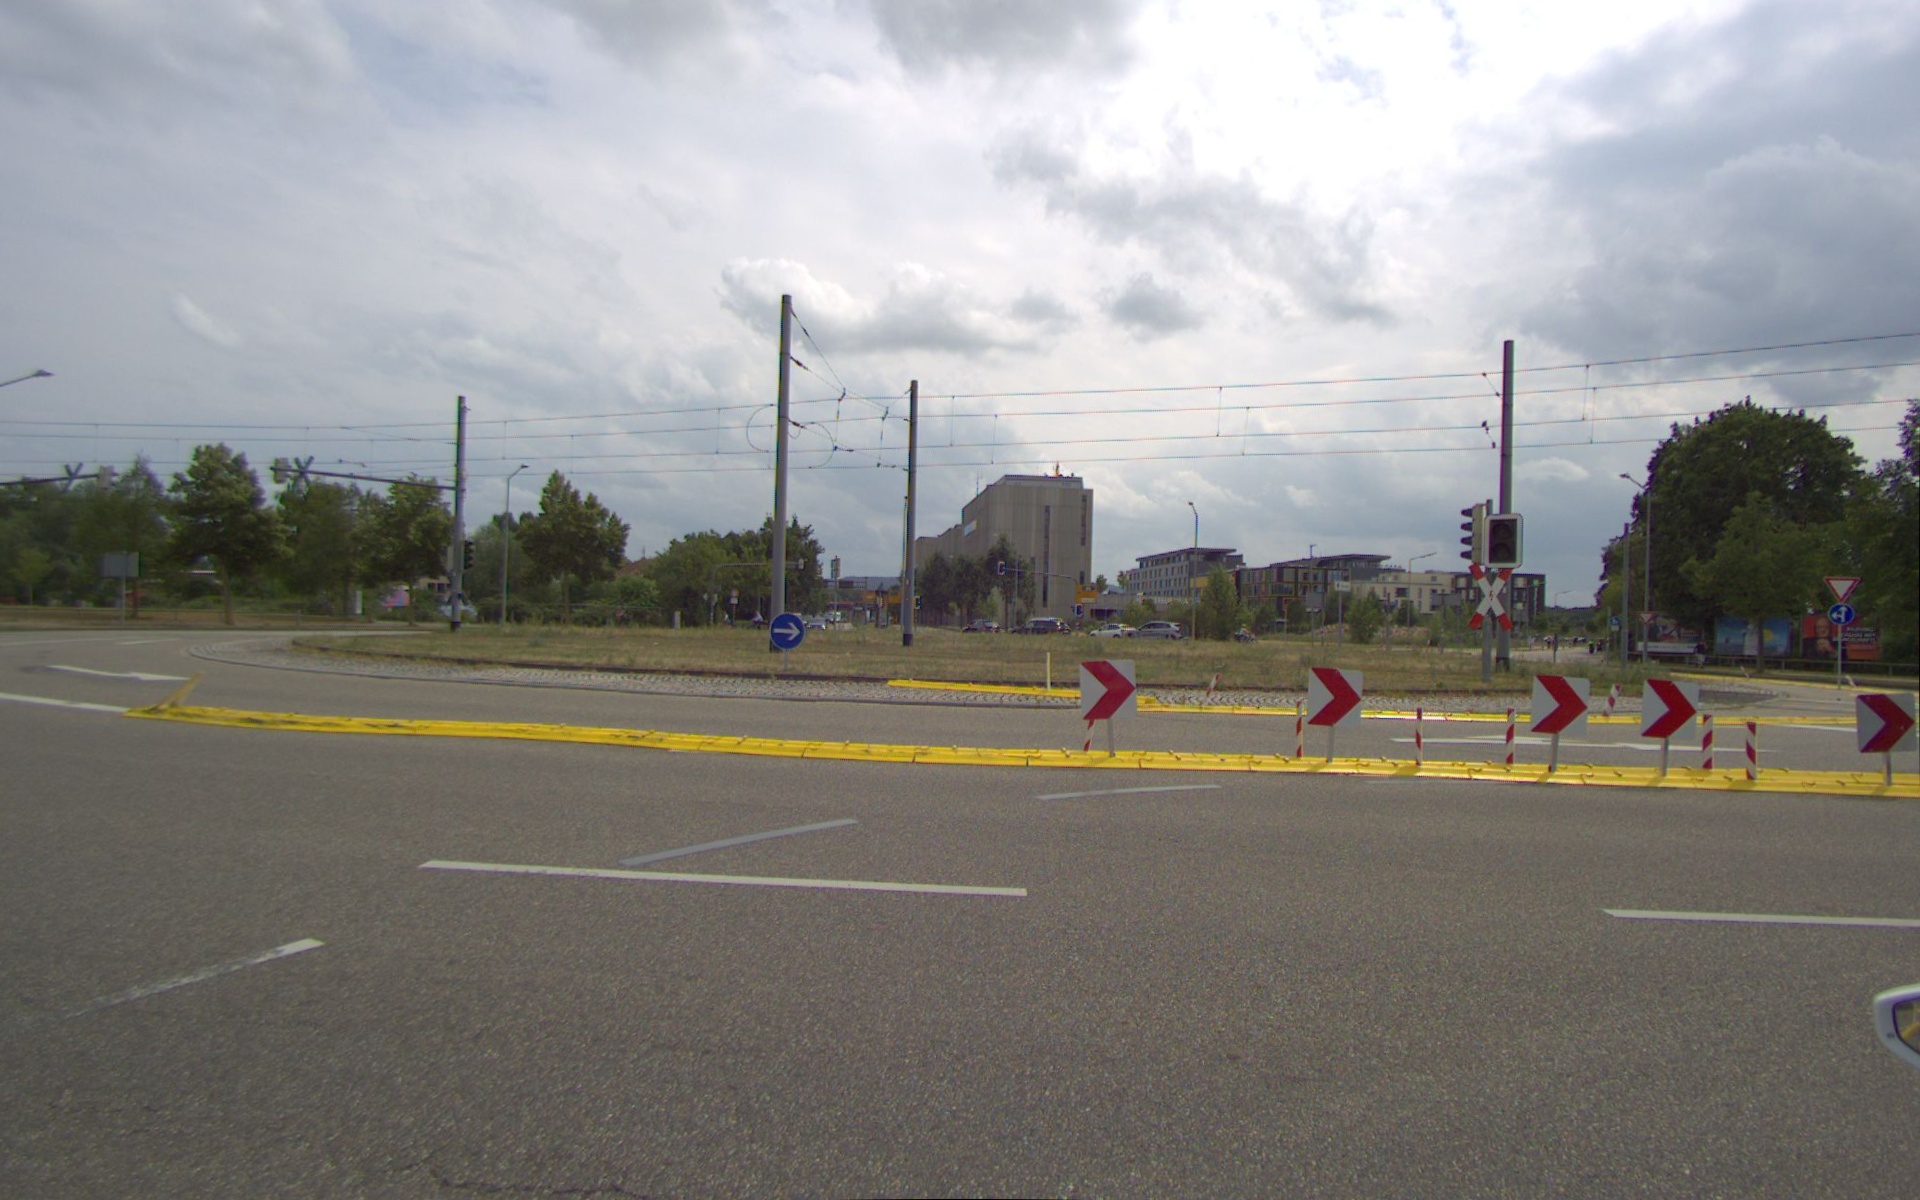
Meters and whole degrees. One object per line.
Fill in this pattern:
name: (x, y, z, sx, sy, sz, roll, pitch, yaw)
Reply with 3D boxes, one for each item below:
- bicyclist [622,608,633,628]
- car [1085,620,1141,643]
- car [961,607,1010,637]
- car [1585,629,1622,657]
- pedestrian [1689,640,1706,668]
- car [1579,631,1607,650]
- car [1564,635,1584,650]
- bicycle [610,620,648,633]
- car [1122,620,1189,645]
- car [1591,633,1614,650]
bicyclist: (-25.071, 1.364, 75.815, 0.665, 1.428, 0.859, 2, -1, -24)
car: (11.277, 2.299, 74.248, 1.817, 1.483, 3.958, 4, -2, -37)
car: (1.823, 1.600, 72.912, 1.973, 2.040, 3.977, 3, -2, -24)
car: (49.336, 3.320, 77.045, 1.963, 2.040, 3.995, 2, -2, 28)
pedestrian: (42.694, 3.128, 58.139, 0.658, 1.615, 0.448, 1, 0, 1)
car: (68.619, 4.381, 108.862, 1.970, 1.873, 3.981, 2, -2, 41)
car: (83.540, 5.803, 136.735, 1.967, 1.873, 3.987, 2, -2, 36)
bicycle: (-25.006, 1.995, 75.828, 2.622, 0.866, 0.859, 2, -1, -25)
car: (12.802, 2.134, 65.758, 3.931, 1.483, 1.829, 1, -2, 33)
car: (77.807, 4.988, 121.593, 1.968, 1.873, 3.986, 2, -2, 37)
